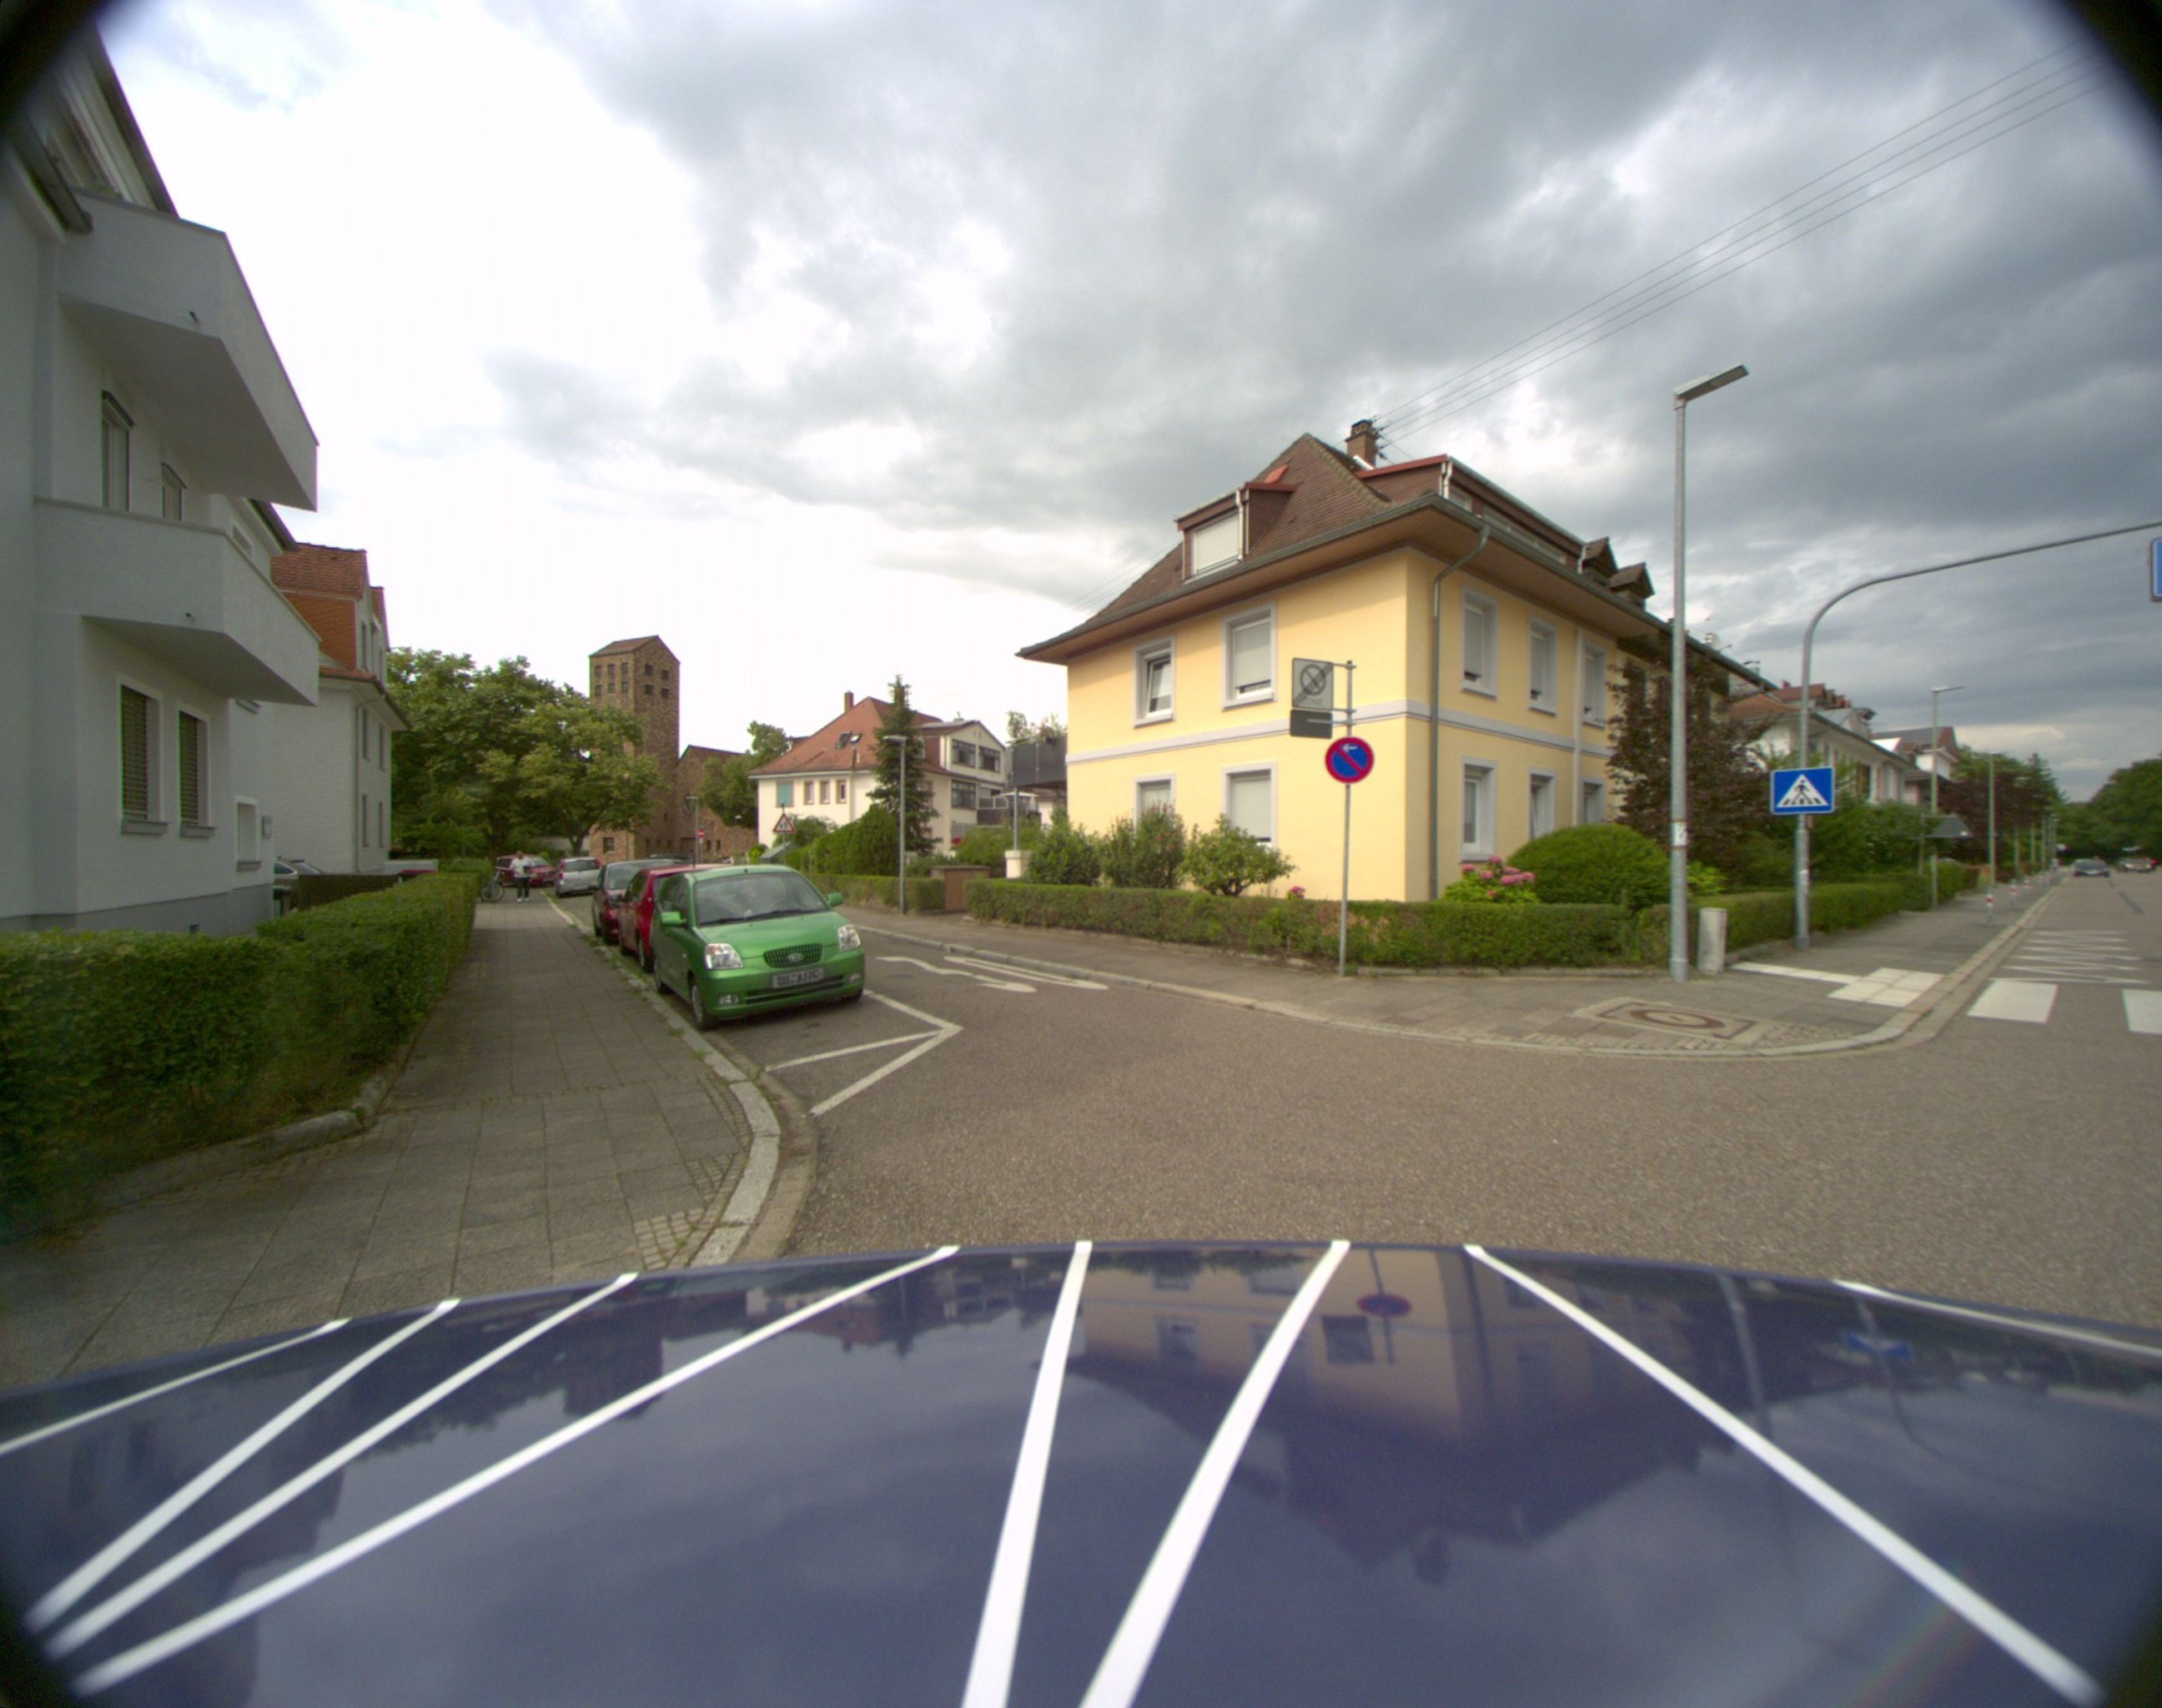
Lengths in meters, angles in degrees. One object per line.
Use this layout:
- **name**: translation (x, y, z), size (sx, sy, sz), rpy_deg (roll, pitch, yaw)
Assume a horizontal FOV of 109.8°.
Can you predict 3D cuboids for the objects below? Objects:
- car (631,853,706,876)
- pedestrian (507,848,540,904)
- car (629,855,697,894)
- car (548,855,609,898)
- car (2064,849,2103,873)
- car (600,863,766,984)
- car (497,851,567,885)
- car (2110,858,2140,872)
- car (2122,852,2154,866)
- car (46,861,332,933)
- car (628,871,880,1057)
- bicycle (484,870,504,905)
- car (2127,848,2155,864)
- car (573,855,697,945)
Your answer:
- **car**: translation (-27.697, 0.671, 51.109), size (4.236, 1.456, 1.679), rpy_deg (0, 2, -38)
- **pedestrian**: translation (-19.110, 0.742, 26.067), size (0.886, 1.867, 1.076), rpy_deg (0, 1, -37)
- **car**: translation (-17.367, 0.817, 31.496), size (1.859, 1.472, 4.030), rpy_deg (2, -1, -38)
- **car**: translation (-20.004, 0.851, 30.204), size (1.653, 1.487, 3.471), rpy_deg (-4, 3, -38)
- **car**: translation (87.891, 0.575, 66.623), size (4.008, 2.002, 1.994), rpy_deg (0, 1, -37)
- **car**: translation (-6.396, 0.953, 12.029), size (1.653, 1.487, 3.471), rpy_deg (-4, 3, -38)
- **car**: translation (-26.542, 0.660, 36.710), size (3.471, 1.487, 1.654), rpy_deg (-1, 3, 35)
- **car**: translation (119.562, 1.260, 87.037), size (4.008, 1.478, 1.831), rpy_deg (0, 2, -38)
- **car**: translation (130.909, 0.630, 94.129), size (4.008, 1.696, 1.729), rpy_deg (0, 2, -44)
- **car**: translation (-20.631, 0.926, 17.892), size (4.008, 1.455, 1.994), rpy_deg (0, 0, -36)
- **car**: translation (-3.736, 0.986, 8.366), size (1.653, 1.414, 3.471), rpy_deg (-4, 3, -38)
- **bicycle**: translation (-19.861, 1.122, 25.693), size (0.424, 1.097, 2.109), rpy_deg (-1, 1, -41)
- **car**: translation (138.770, 0.295, 99.498), size (4.008, 2.002, 1.994), rpy_deg (0, 2, -37)
- **car**: translation (-9.103, 0.818, 15.397), size (1.653, 1.487, 3.471), rpy_deg (-4, 3, -38)
